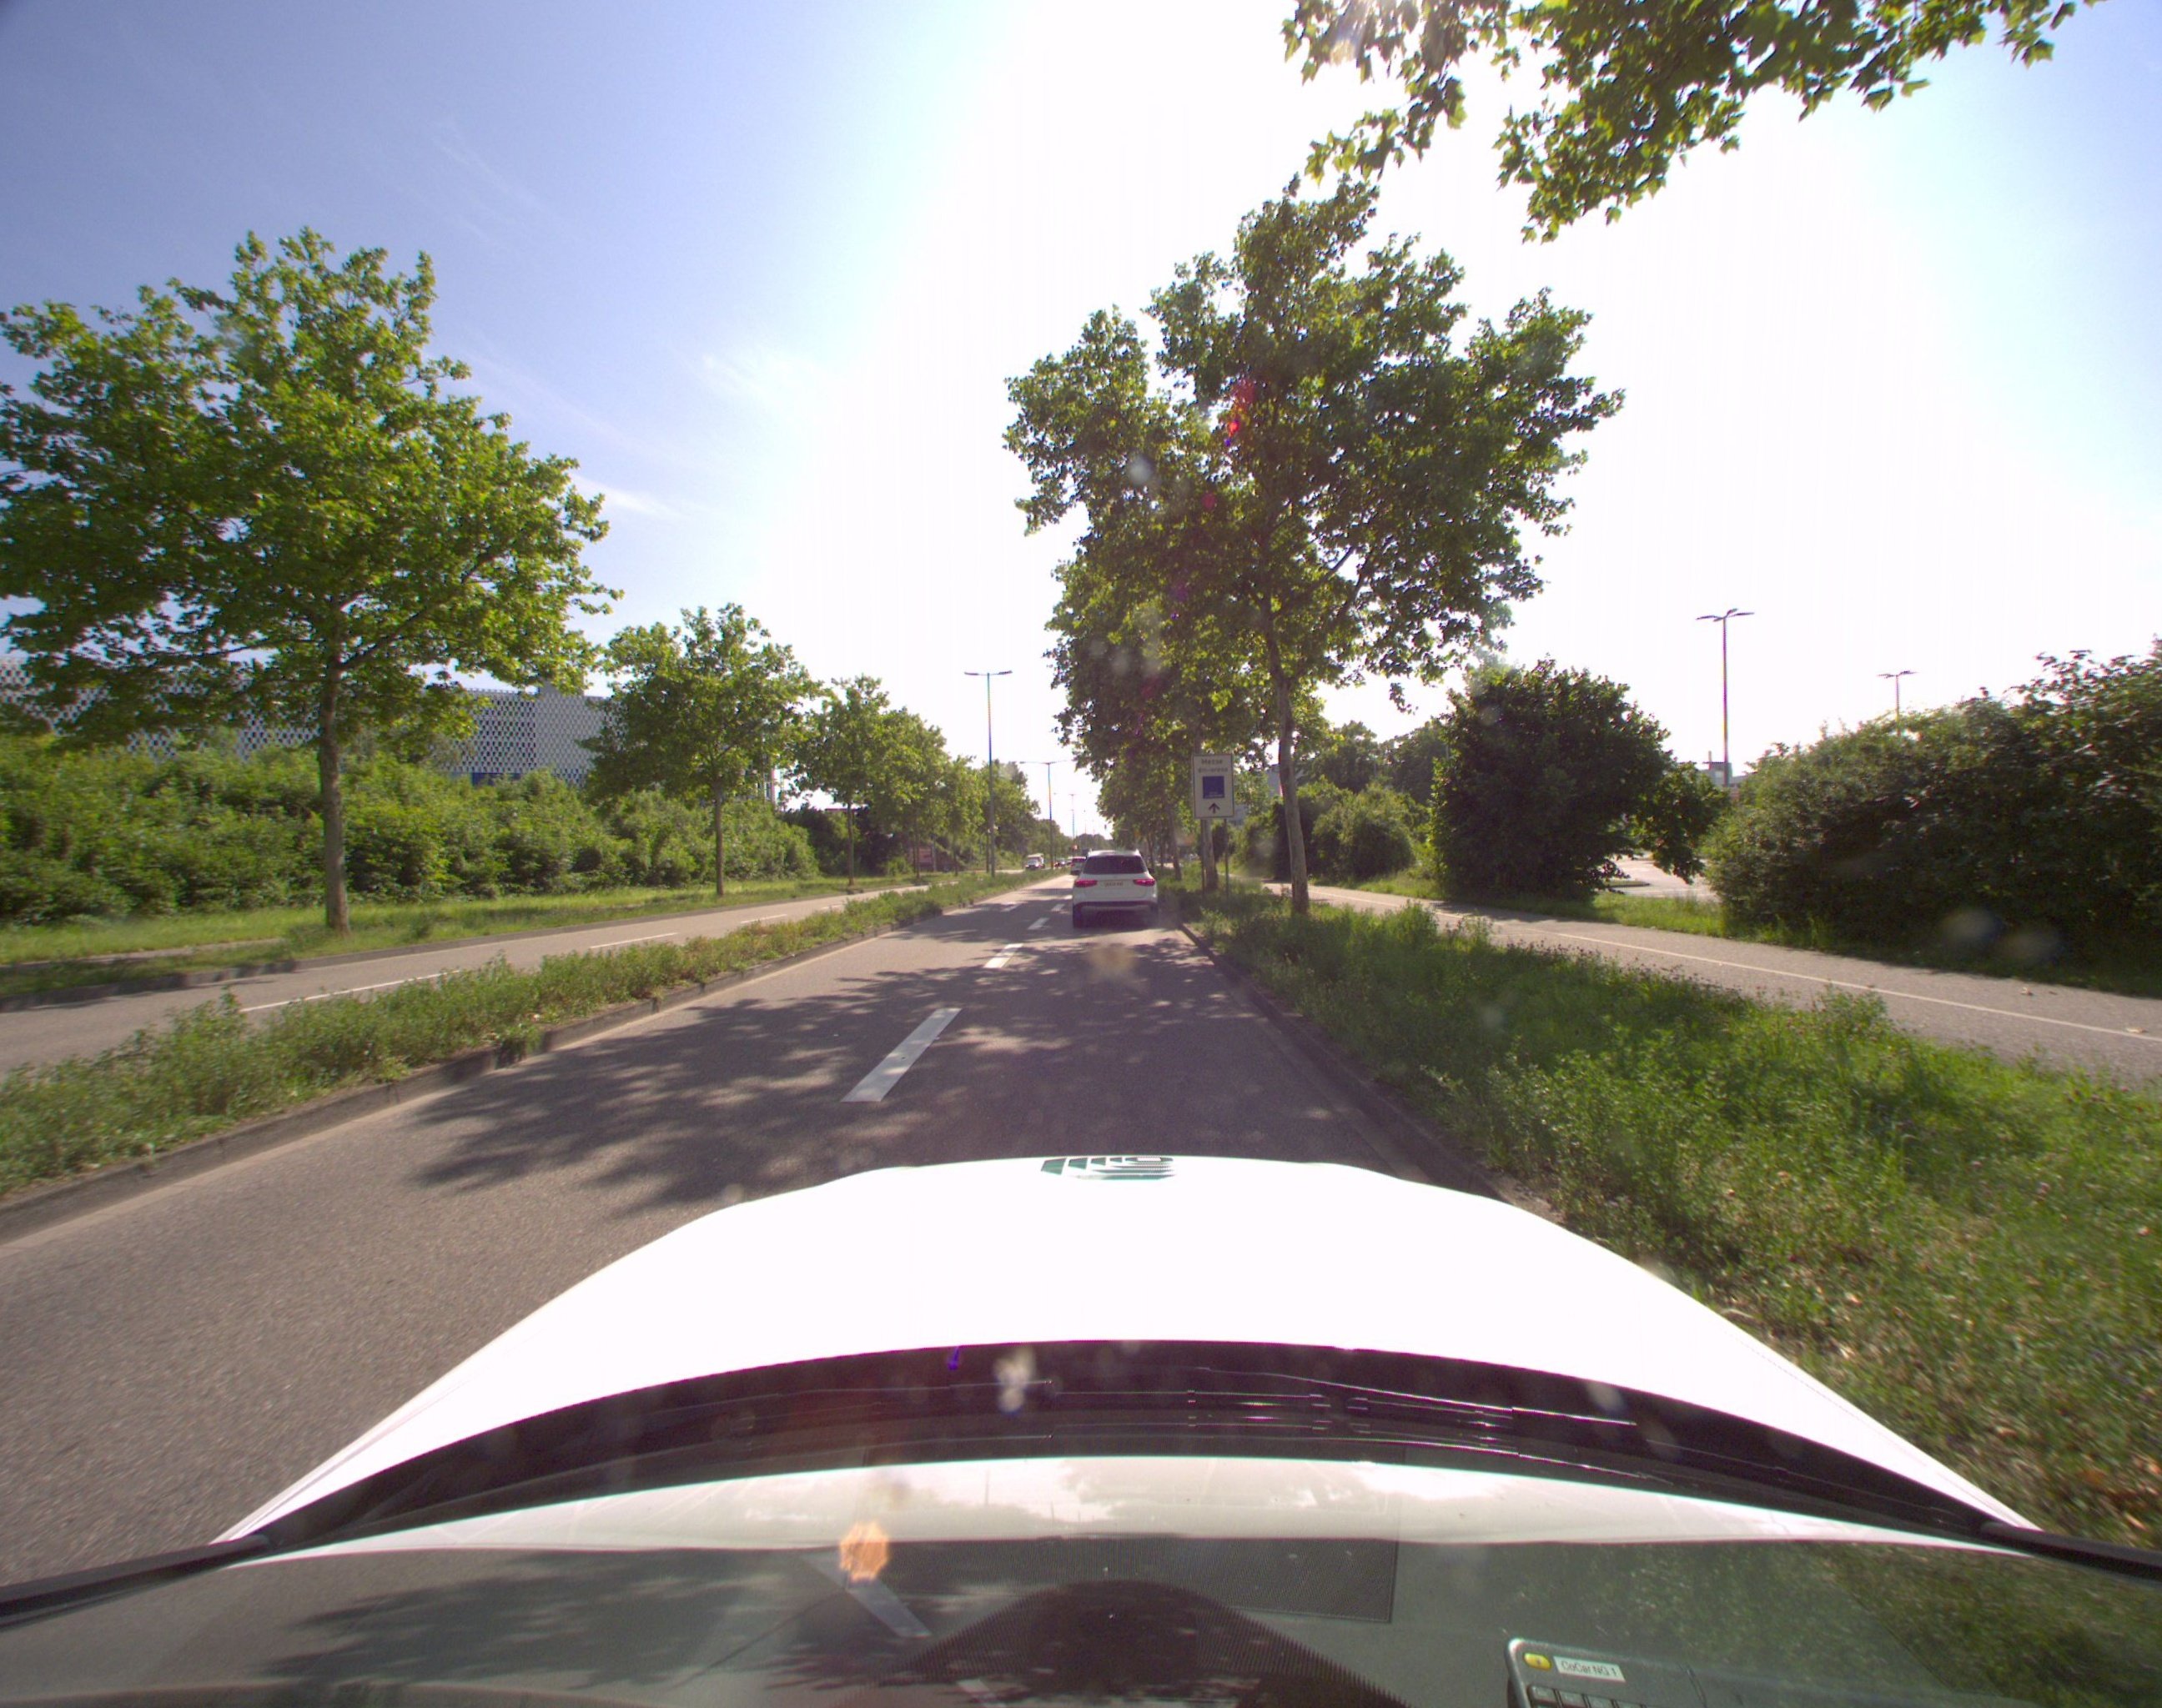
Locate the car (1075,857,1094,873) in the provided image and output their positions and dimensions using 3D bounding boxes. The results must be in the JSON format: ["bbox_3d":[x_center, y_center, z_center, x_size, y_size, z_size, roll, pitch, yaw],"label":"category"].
[{"bbox_3d":[0.374,1.134,84.147,1.764,1.647,4.087,-1,-1,3],"label":"car"}]

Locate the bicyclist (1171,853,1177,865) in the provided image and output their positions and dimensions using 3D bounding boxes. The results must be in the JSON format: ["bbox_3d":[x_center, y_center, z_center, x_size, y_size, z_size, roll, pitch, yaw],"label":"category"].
[{"bbox_3d":[11.683,0.645,102.137,0.701,1.477,1.010,-1,-1,3],"label":"bicyclist"}]

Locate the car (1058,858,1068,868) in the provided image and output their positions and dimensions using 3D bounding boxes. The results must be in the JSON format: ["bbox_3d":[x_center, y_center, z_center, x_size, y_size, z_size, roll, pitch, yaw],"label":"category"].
[{"bbox_3d":[-3.497,1.721,158.256,1.723,1.809,4.235,0,-1,3],"label":"car"}]

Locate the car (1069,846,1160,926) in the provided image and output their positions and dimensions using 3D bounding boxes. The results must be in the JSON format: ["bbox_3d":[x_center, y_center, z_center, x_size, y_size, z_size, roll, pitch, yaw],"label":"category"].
[{"bbox_3d":[0.656,0.672,18.564,1.848,1.607,3.998,0,-1,-1],"label":"car"}]

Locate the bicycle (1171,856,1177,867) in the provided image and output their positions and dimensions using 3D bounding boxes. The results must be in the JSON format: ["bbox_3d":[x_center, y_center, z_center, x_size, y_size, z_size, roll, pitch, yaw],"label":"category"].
[{"bbox_3d":[11.669,0.934,102.137,0.719,1.299,2.097,-1,-1,3],"label":"bicycle"}]

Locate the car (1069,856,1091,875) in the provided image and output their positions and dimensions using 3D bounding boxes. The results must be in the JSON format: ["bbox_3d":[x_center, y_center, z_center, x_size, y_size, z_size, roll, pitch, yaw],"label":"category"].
[{"bbox_3d":[-0.074,1.092,77.134,1.764,1.647,4.355,-1,-1,3],"label":"car"}]

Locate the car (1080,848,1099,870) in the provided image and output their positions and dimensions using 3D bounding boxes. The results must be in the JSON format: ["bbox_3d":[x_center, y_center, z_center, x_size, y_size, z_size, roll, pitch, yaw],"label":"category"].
[{"bbox_3d":[1.092,0.633,100.356,2.073,2.657,4.878,0,-1,3],"label":"car"}]

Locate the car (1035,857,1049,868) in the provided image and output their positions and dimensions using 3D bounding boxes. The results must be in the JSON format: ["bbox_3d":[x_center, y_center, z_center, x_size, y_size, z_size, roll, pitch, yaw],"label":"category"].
[{"bbox_3d":[-6.530,1.476,137.224,1.757,1.790,5.380,0,-1,3],"label":"car"}]

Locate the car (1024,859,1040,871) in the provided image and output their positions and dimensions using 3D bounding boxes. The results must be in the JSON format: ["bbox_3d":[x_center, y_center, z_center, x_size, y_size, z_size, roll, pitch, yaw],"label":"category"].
[{"bbox_3d":[-6.862,1.588,114.486,1.708,1.622,4.364,-1,-1,3],"label":"car"}]

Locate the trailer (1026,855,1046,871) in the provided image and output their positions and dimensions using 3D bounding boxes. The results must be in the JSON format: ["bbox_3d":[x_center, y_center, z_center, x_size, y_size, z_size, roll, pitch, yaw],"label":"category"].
[{"bbox_3d":[-6.550,1.361,119.465,2.299,2.265,5.542,-1,-1,3],"label":"trailer"}]

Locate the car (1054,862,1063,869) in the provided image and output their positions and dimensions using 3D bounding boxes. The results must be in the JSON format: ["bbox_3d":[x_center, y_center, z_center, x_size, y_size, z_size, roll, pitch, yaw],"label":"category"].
[{"bbox_3d":[-4.997,2.581,183.572,1.694,1.365,3.647,-1,0,2],"label":"car"}]

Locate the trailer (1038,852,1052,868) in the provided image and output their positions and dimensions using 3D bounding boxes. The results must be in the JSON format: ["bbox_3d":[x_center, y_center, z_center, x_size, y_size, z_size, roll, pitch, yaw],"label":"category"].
[{"bbox_3d":[-6.246,1.081,142.198,1.872,2.744,4.832,0,-1,3],"label":"trailer"}]
